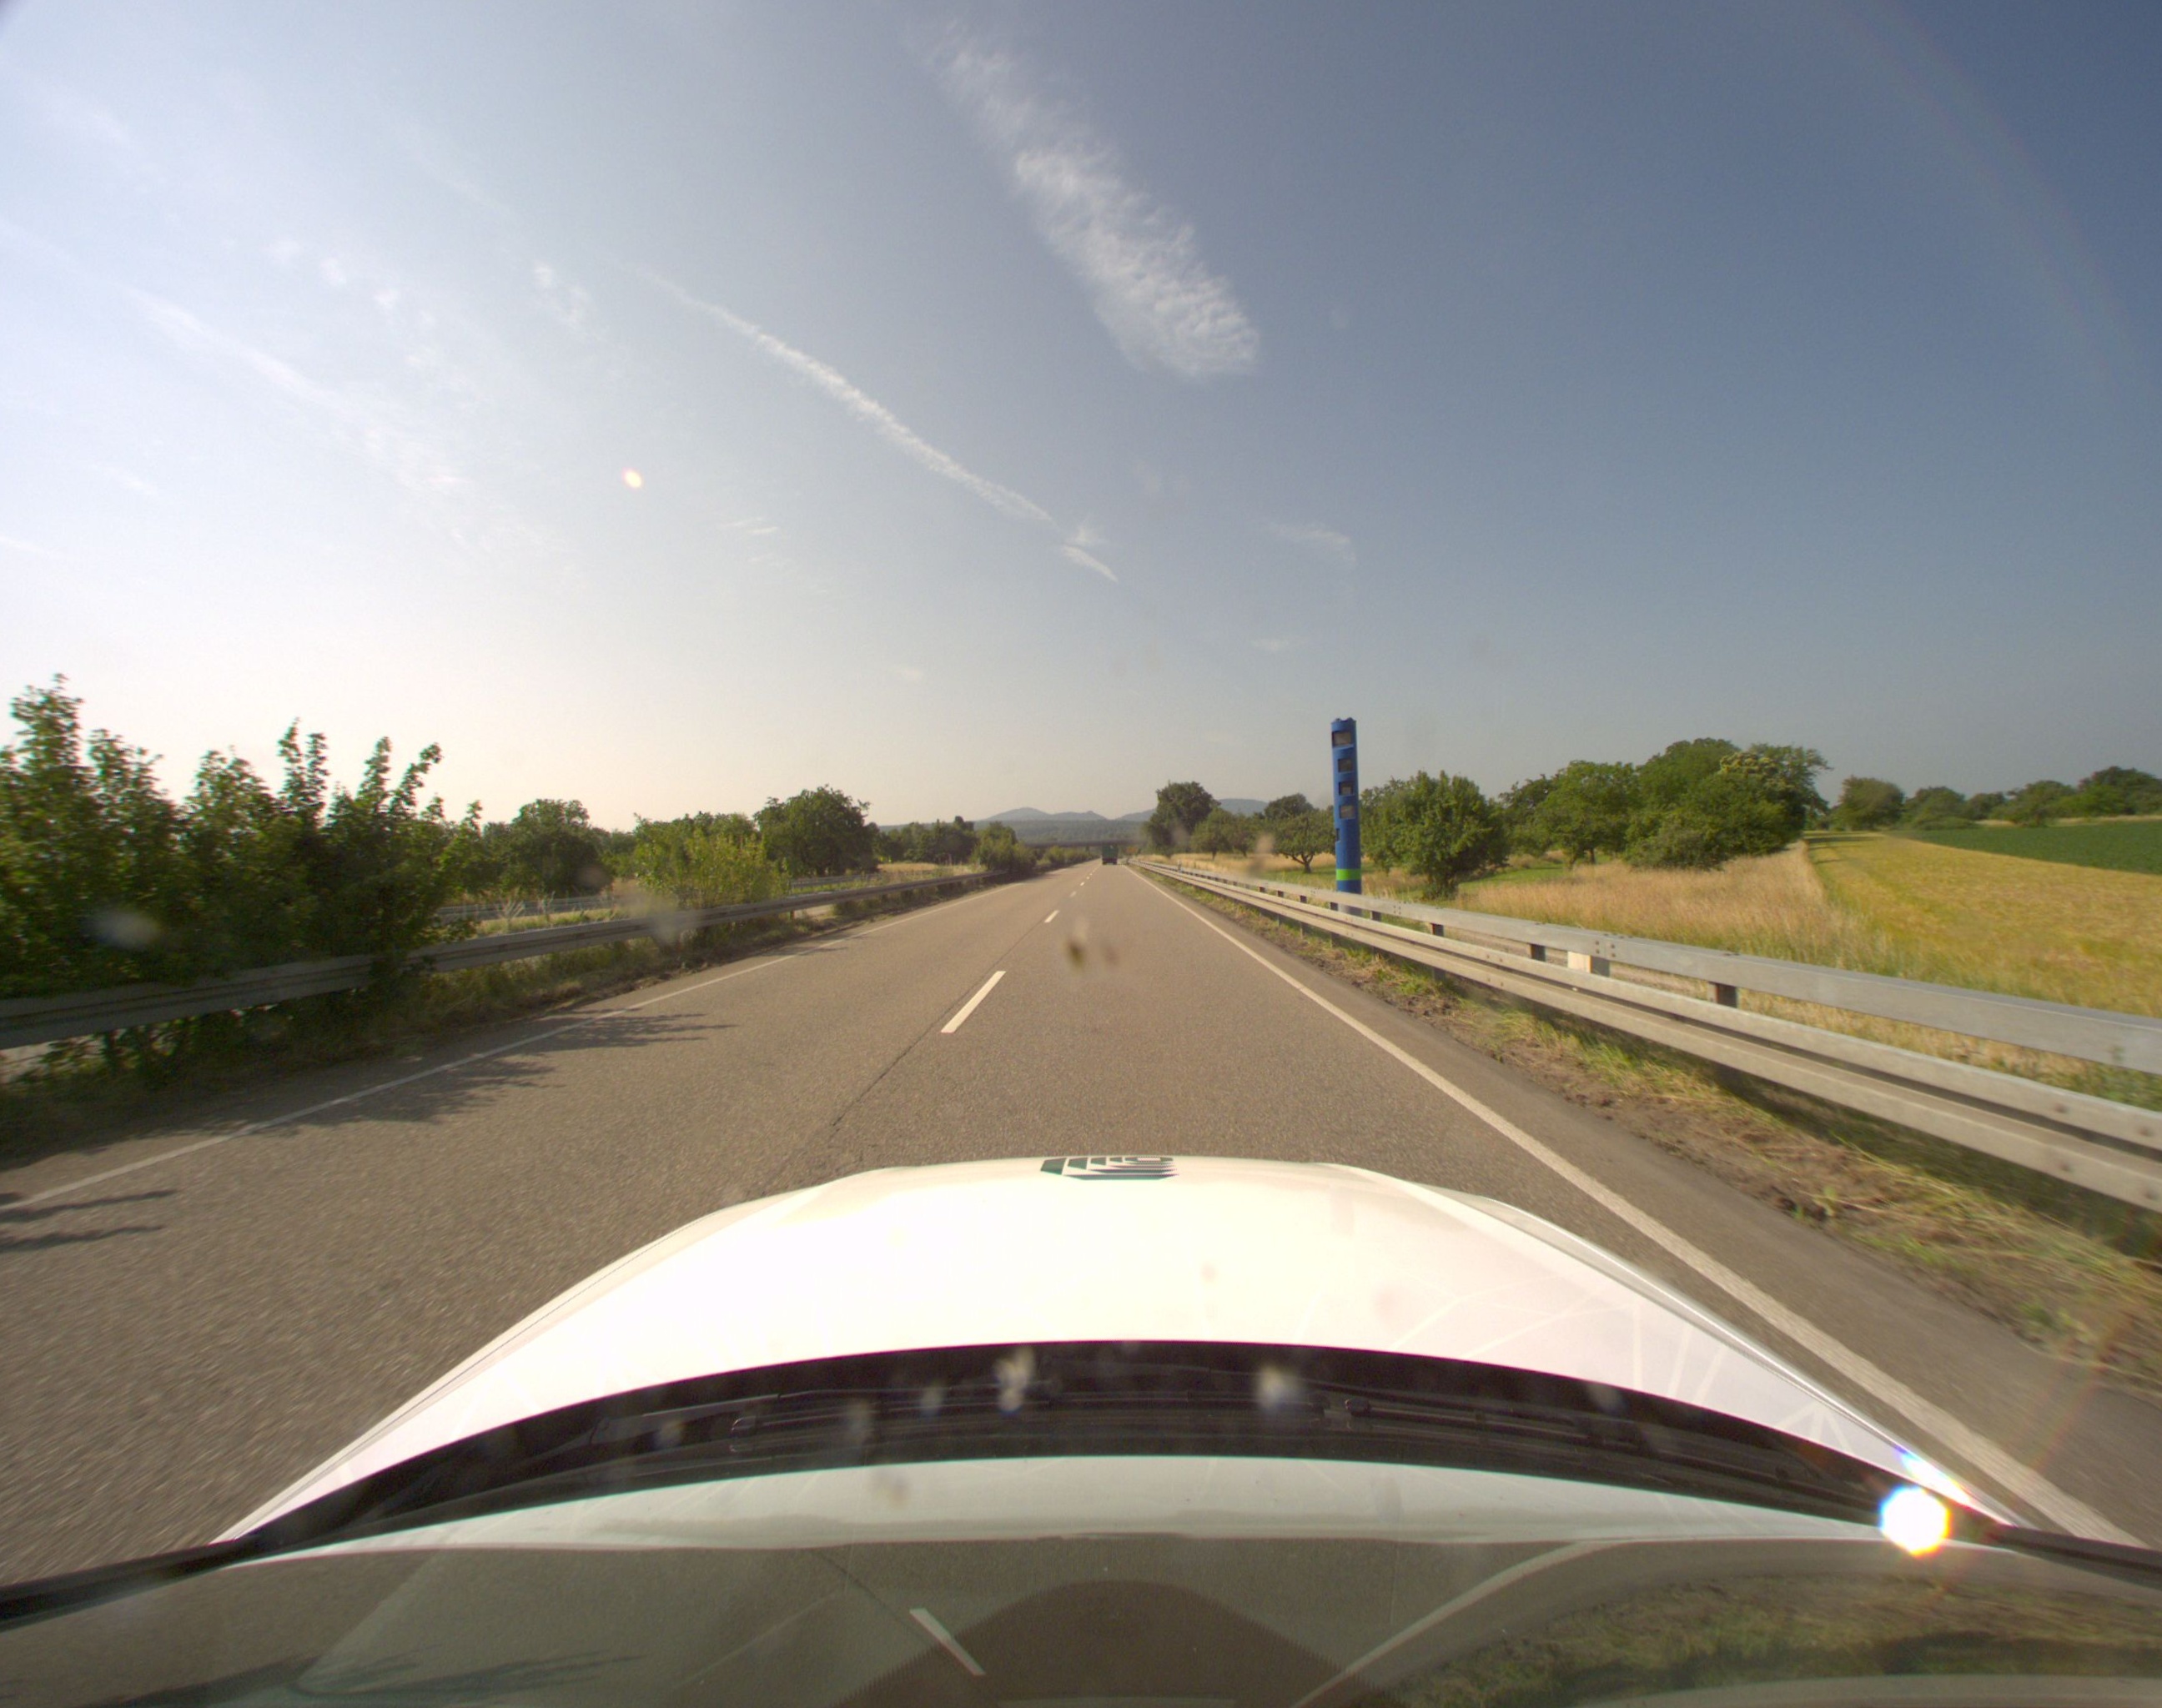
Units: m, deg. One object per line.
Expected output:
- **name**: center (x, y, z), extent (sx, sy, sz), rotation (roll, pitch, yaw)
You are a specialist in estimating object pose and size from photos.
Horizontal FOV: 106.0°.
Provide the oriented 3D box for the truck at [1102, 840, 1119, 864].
- **truck**: center (5.071, -0.469, 138.916), extent (2.711, 3.965, 10.422), rotation (0, 1, 2)
